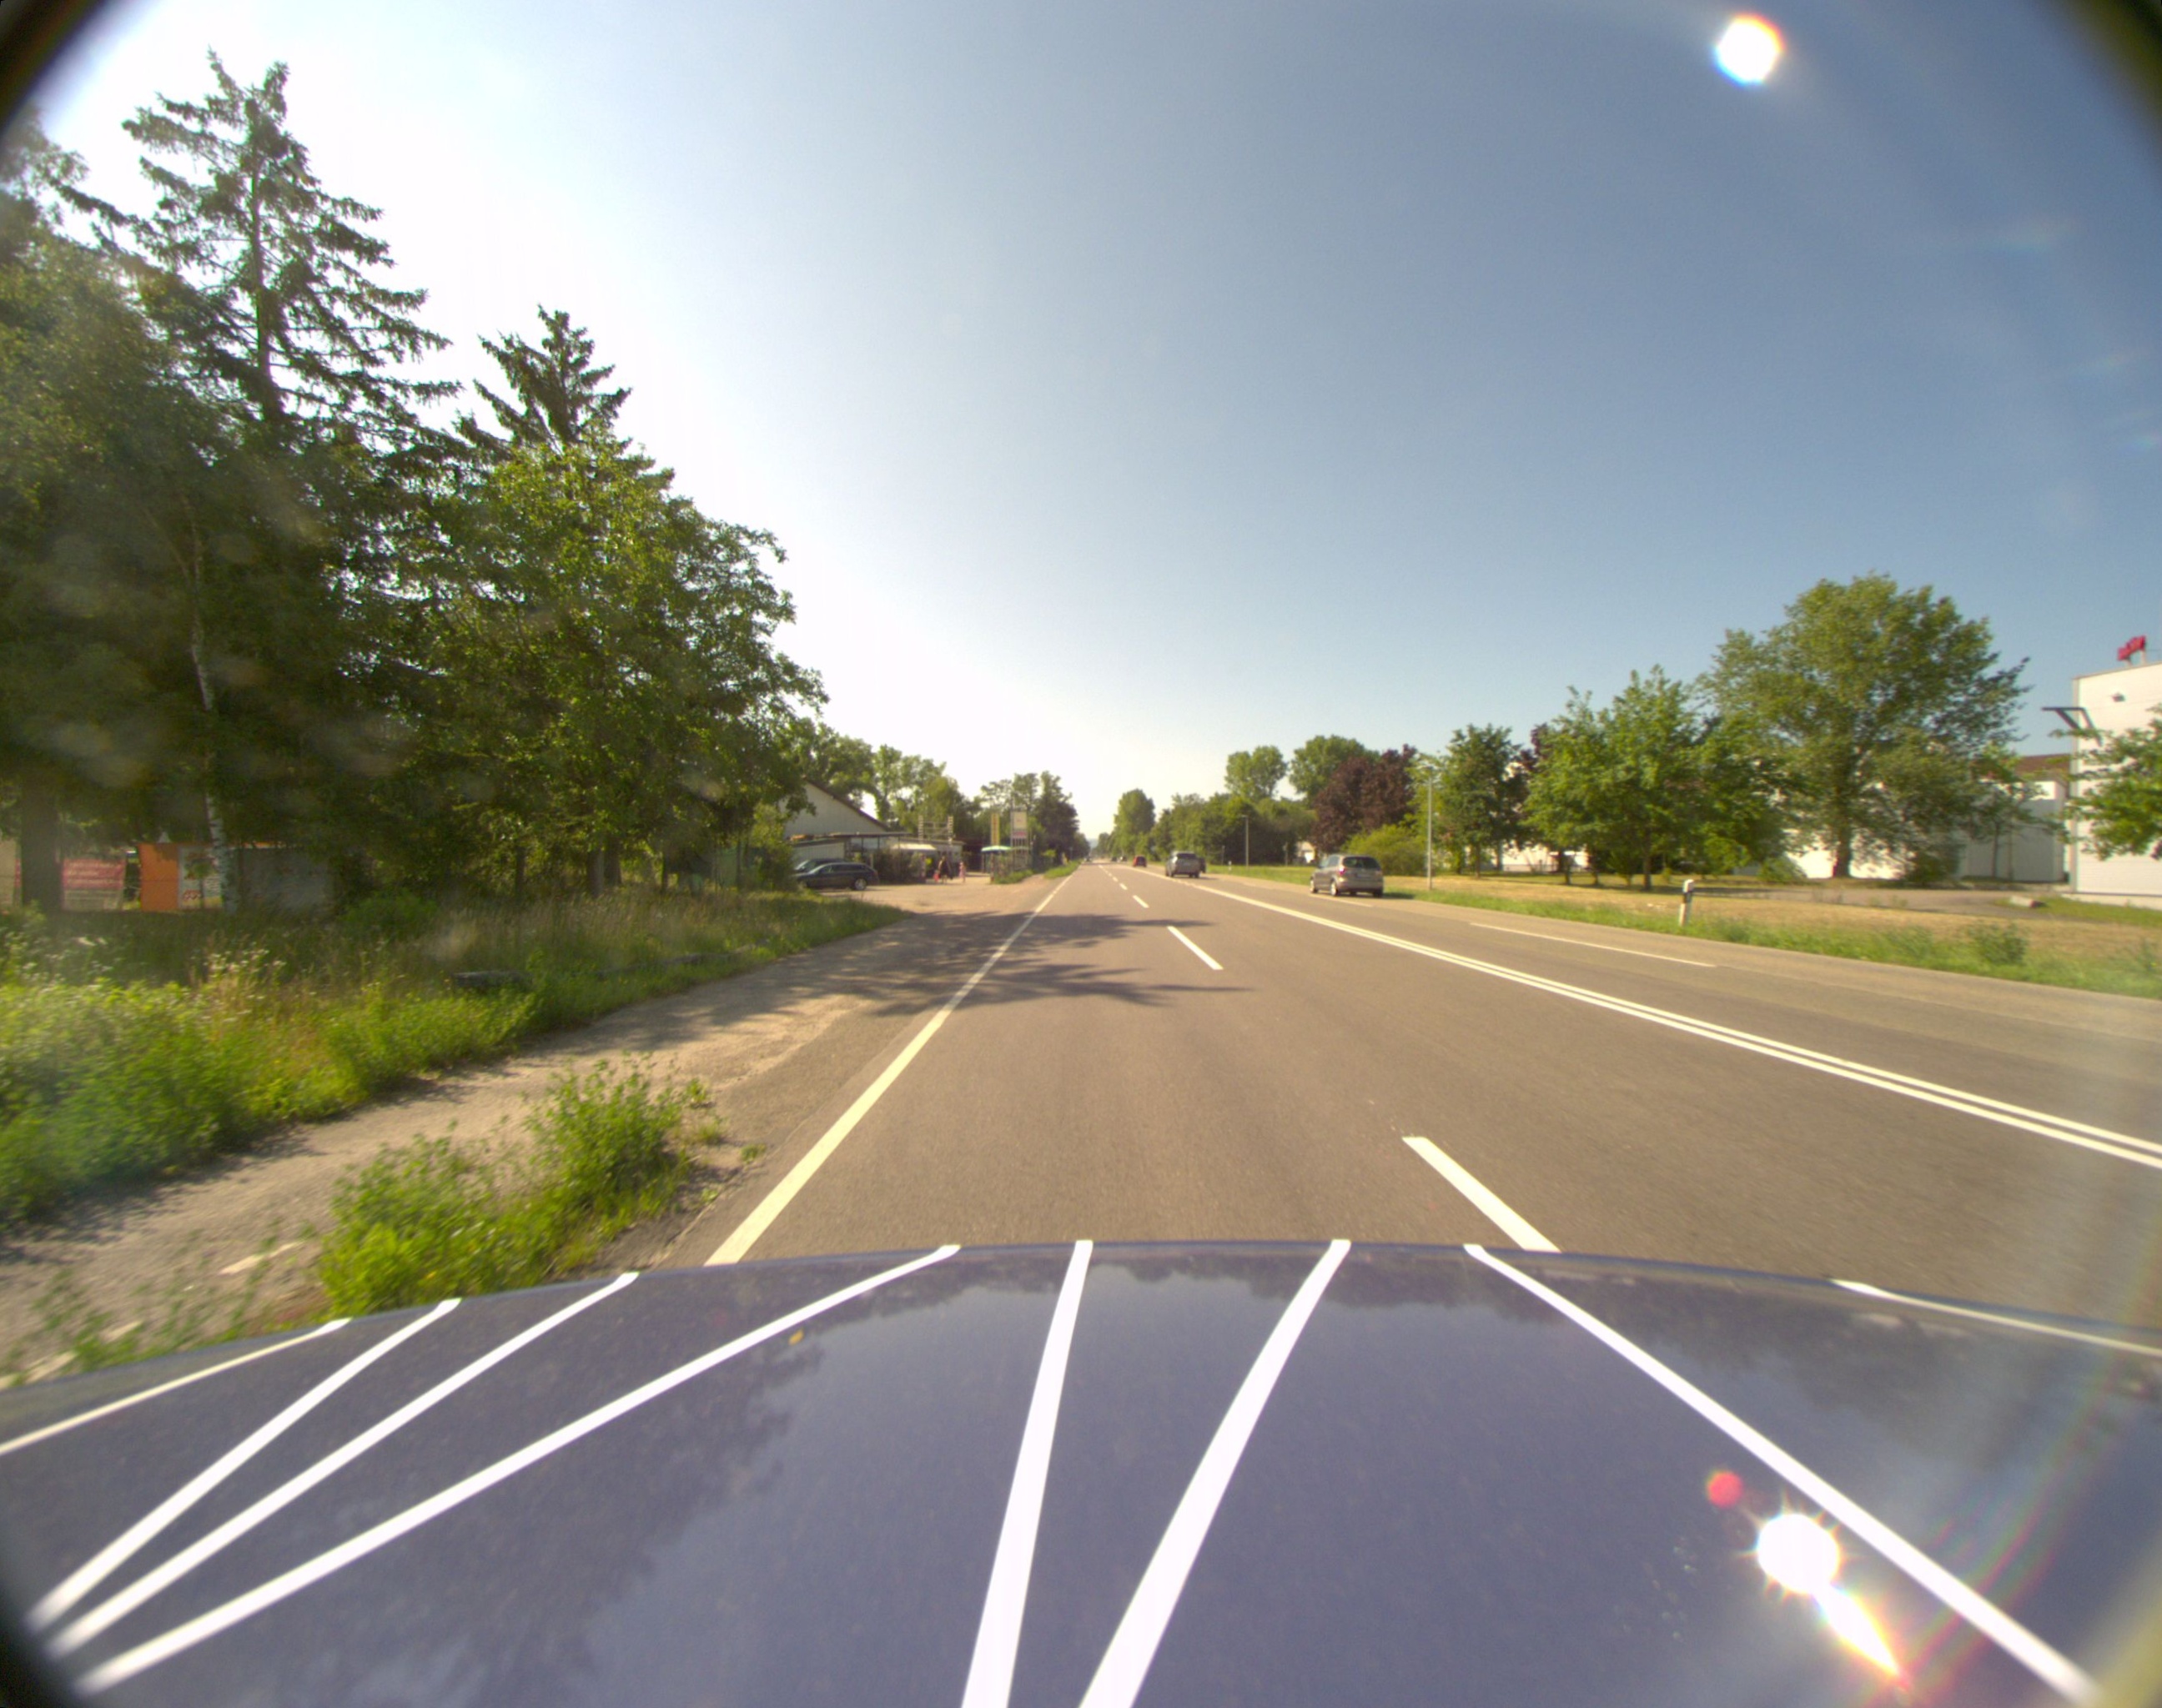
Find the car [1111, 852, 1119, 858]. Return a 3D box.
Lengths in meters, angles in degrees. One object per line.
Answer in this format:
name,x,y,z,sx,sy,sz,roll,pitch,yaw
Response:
car,8.665,0.328,194.373,1.768,1.403,4.174,0,-1,1

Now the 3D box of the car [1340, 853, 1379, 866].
car,29.903,0.588,81.574,4.006,1.362,1.818,1,-1,-29

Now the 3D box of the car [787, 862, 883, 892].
car,-12.720,1.150,39.298,4.470,1.422,1.711,-1,0,-28

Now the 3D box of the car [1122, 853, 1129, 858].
car,12.012,0.447,203.988,1.768,1.403,4.001,0,-1,1

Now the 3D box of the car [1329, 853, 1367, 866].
car,29.719,0.642,84.453,4.006,1.362,1.818,1,-1,-29

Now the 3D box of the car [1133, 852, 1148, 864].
car,7.859,0.505,100.382,1.654,1.489,3.844,2,0,0

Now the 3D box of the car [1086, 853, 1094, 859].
car,2.285,0.437,192.169,1.768,1.403,4.001,0,-1,1

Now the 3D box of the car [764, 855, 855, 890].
car,-14.962,1.007,41.911,4.470,1.792,1.860,-1,0,-28

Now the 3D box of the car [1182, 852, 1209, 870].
car,10.294,0.615,68.578,1.656,1.472,4.740,2,0,0

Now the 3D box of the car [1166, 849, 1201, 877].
car,6.715,0.558,50.081,1.776,1.704,4.569,2,0,1

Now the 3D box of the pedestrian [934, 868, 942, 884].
pedestrian,-8.913,1.382,47.297,0.470,0.978,0.338,0,1,-14

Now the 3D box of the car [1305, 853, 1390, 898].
car,9.961,0.756,28.729,1.733,1.552,4.215,1,0,0

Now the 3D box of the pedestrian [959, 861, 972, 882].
pedestrian,-7.435,1.136,48.962,0.725,1.330,0.824,0,1,-14

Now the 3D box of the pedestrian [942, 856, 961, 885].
pedestrian,-8.142,1.002,47.622,1.100,1.775,0.935,0,1,-14
